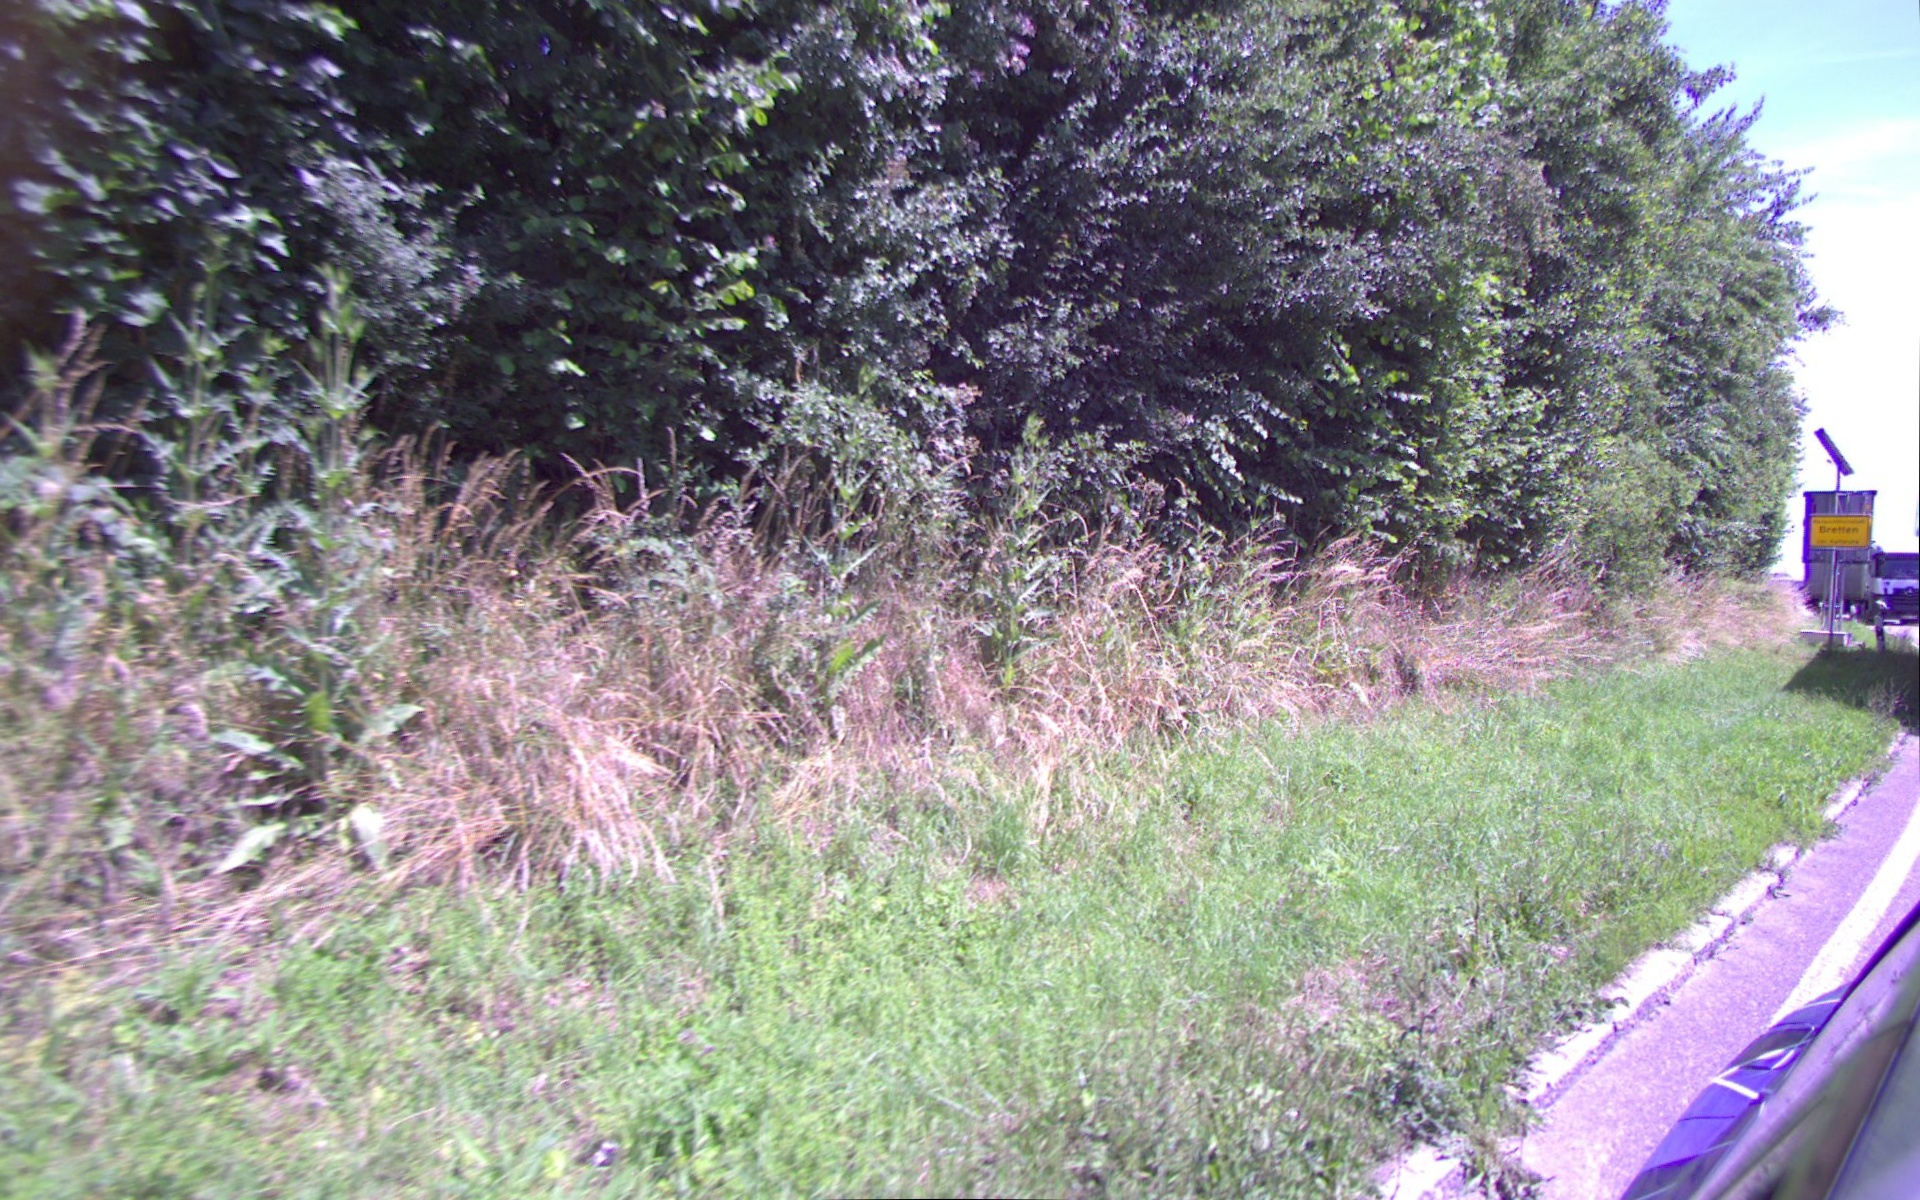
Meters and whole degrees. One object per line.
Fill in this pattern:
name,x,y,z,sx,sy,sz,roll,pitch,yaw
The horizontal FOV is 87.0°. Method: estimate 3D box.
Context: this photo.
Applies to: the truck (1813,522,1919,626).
truck,46.524,-1.391,51.104,2.960,4.527,16.269,0,2,32
